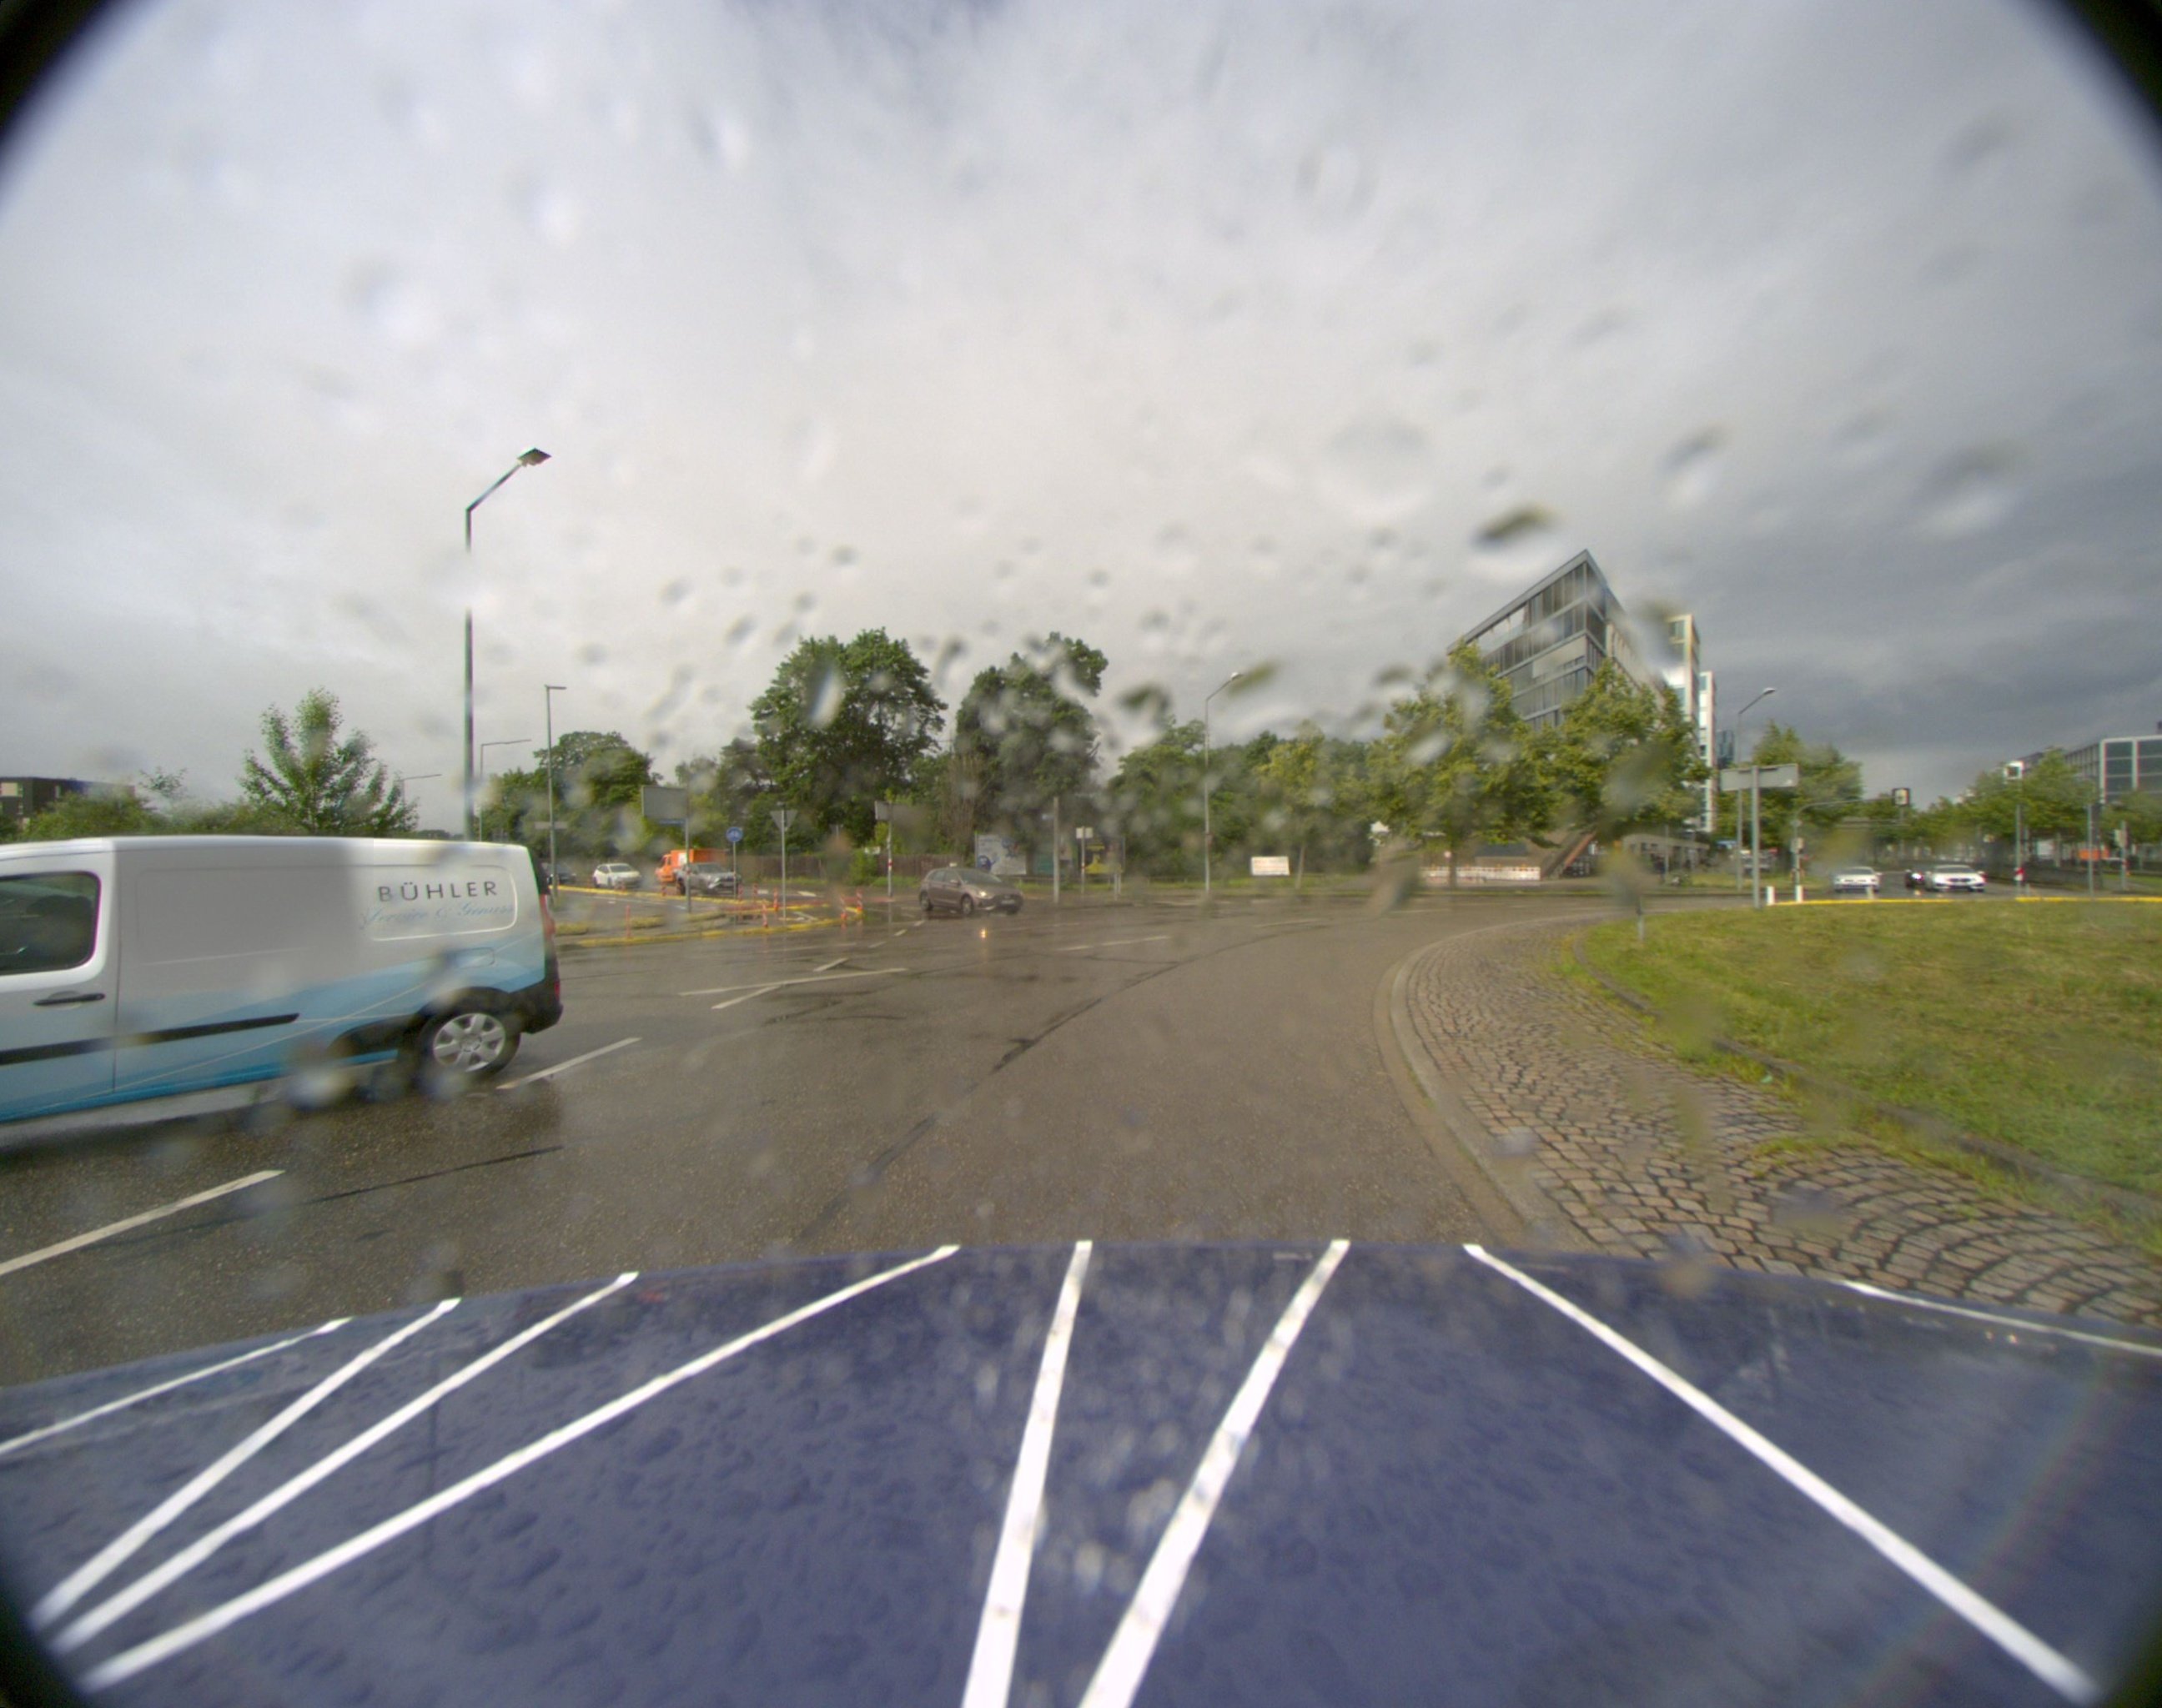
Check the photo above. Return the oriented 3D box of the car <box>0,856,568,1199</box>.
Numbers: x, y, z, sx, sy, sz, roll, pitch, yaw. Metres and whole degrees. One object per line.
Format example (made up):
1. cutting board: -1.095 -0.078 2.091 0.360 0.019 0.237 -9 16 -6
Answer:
1. car: -6.160 0.920 4.719 1.862 1.752 4.561 -1 0 39

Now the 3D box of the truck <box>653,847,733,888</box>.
1. truck: -27.696 0.946 54.088 6.926 2.710 2.467 -1 0 39

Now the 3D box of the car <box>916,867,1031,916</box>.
1. car: -3.535 1.161 24.459 1.739 1.405 4.117 -1 0 -39

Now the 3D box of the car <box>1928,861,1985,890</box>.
1. car: 47.953 1.134 41.662 1.722 1.499 3.913 0 0 44

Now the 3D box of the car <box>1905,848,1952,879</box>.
1. car: 56.288 0.594 50.540 4.008 2.002 1.994 -1 0 -43

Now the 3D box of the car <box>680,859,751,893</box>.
1. car: -19.366 1.109 40.149 4.470 1.653 1.879 -1 1 43

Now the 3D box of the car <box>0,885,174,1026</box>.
1. car: -14.675 1.262 9.132 4.508 1.647 1.870 0 -1 -36

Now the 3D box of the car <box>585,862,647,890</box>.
1. car: -29.541 1.375 48.199 4.470 1.654 1.879 -1 2 39

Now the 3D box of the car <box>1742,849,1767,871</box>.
1. car: 74.783 0.742 84.366 1.861 2.345 4.481 0 -2 44

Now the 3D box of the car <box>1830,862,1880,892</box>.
1. car: 45.346 1.360 44.583 1.861 1.662 4.481 -1 -2 43
